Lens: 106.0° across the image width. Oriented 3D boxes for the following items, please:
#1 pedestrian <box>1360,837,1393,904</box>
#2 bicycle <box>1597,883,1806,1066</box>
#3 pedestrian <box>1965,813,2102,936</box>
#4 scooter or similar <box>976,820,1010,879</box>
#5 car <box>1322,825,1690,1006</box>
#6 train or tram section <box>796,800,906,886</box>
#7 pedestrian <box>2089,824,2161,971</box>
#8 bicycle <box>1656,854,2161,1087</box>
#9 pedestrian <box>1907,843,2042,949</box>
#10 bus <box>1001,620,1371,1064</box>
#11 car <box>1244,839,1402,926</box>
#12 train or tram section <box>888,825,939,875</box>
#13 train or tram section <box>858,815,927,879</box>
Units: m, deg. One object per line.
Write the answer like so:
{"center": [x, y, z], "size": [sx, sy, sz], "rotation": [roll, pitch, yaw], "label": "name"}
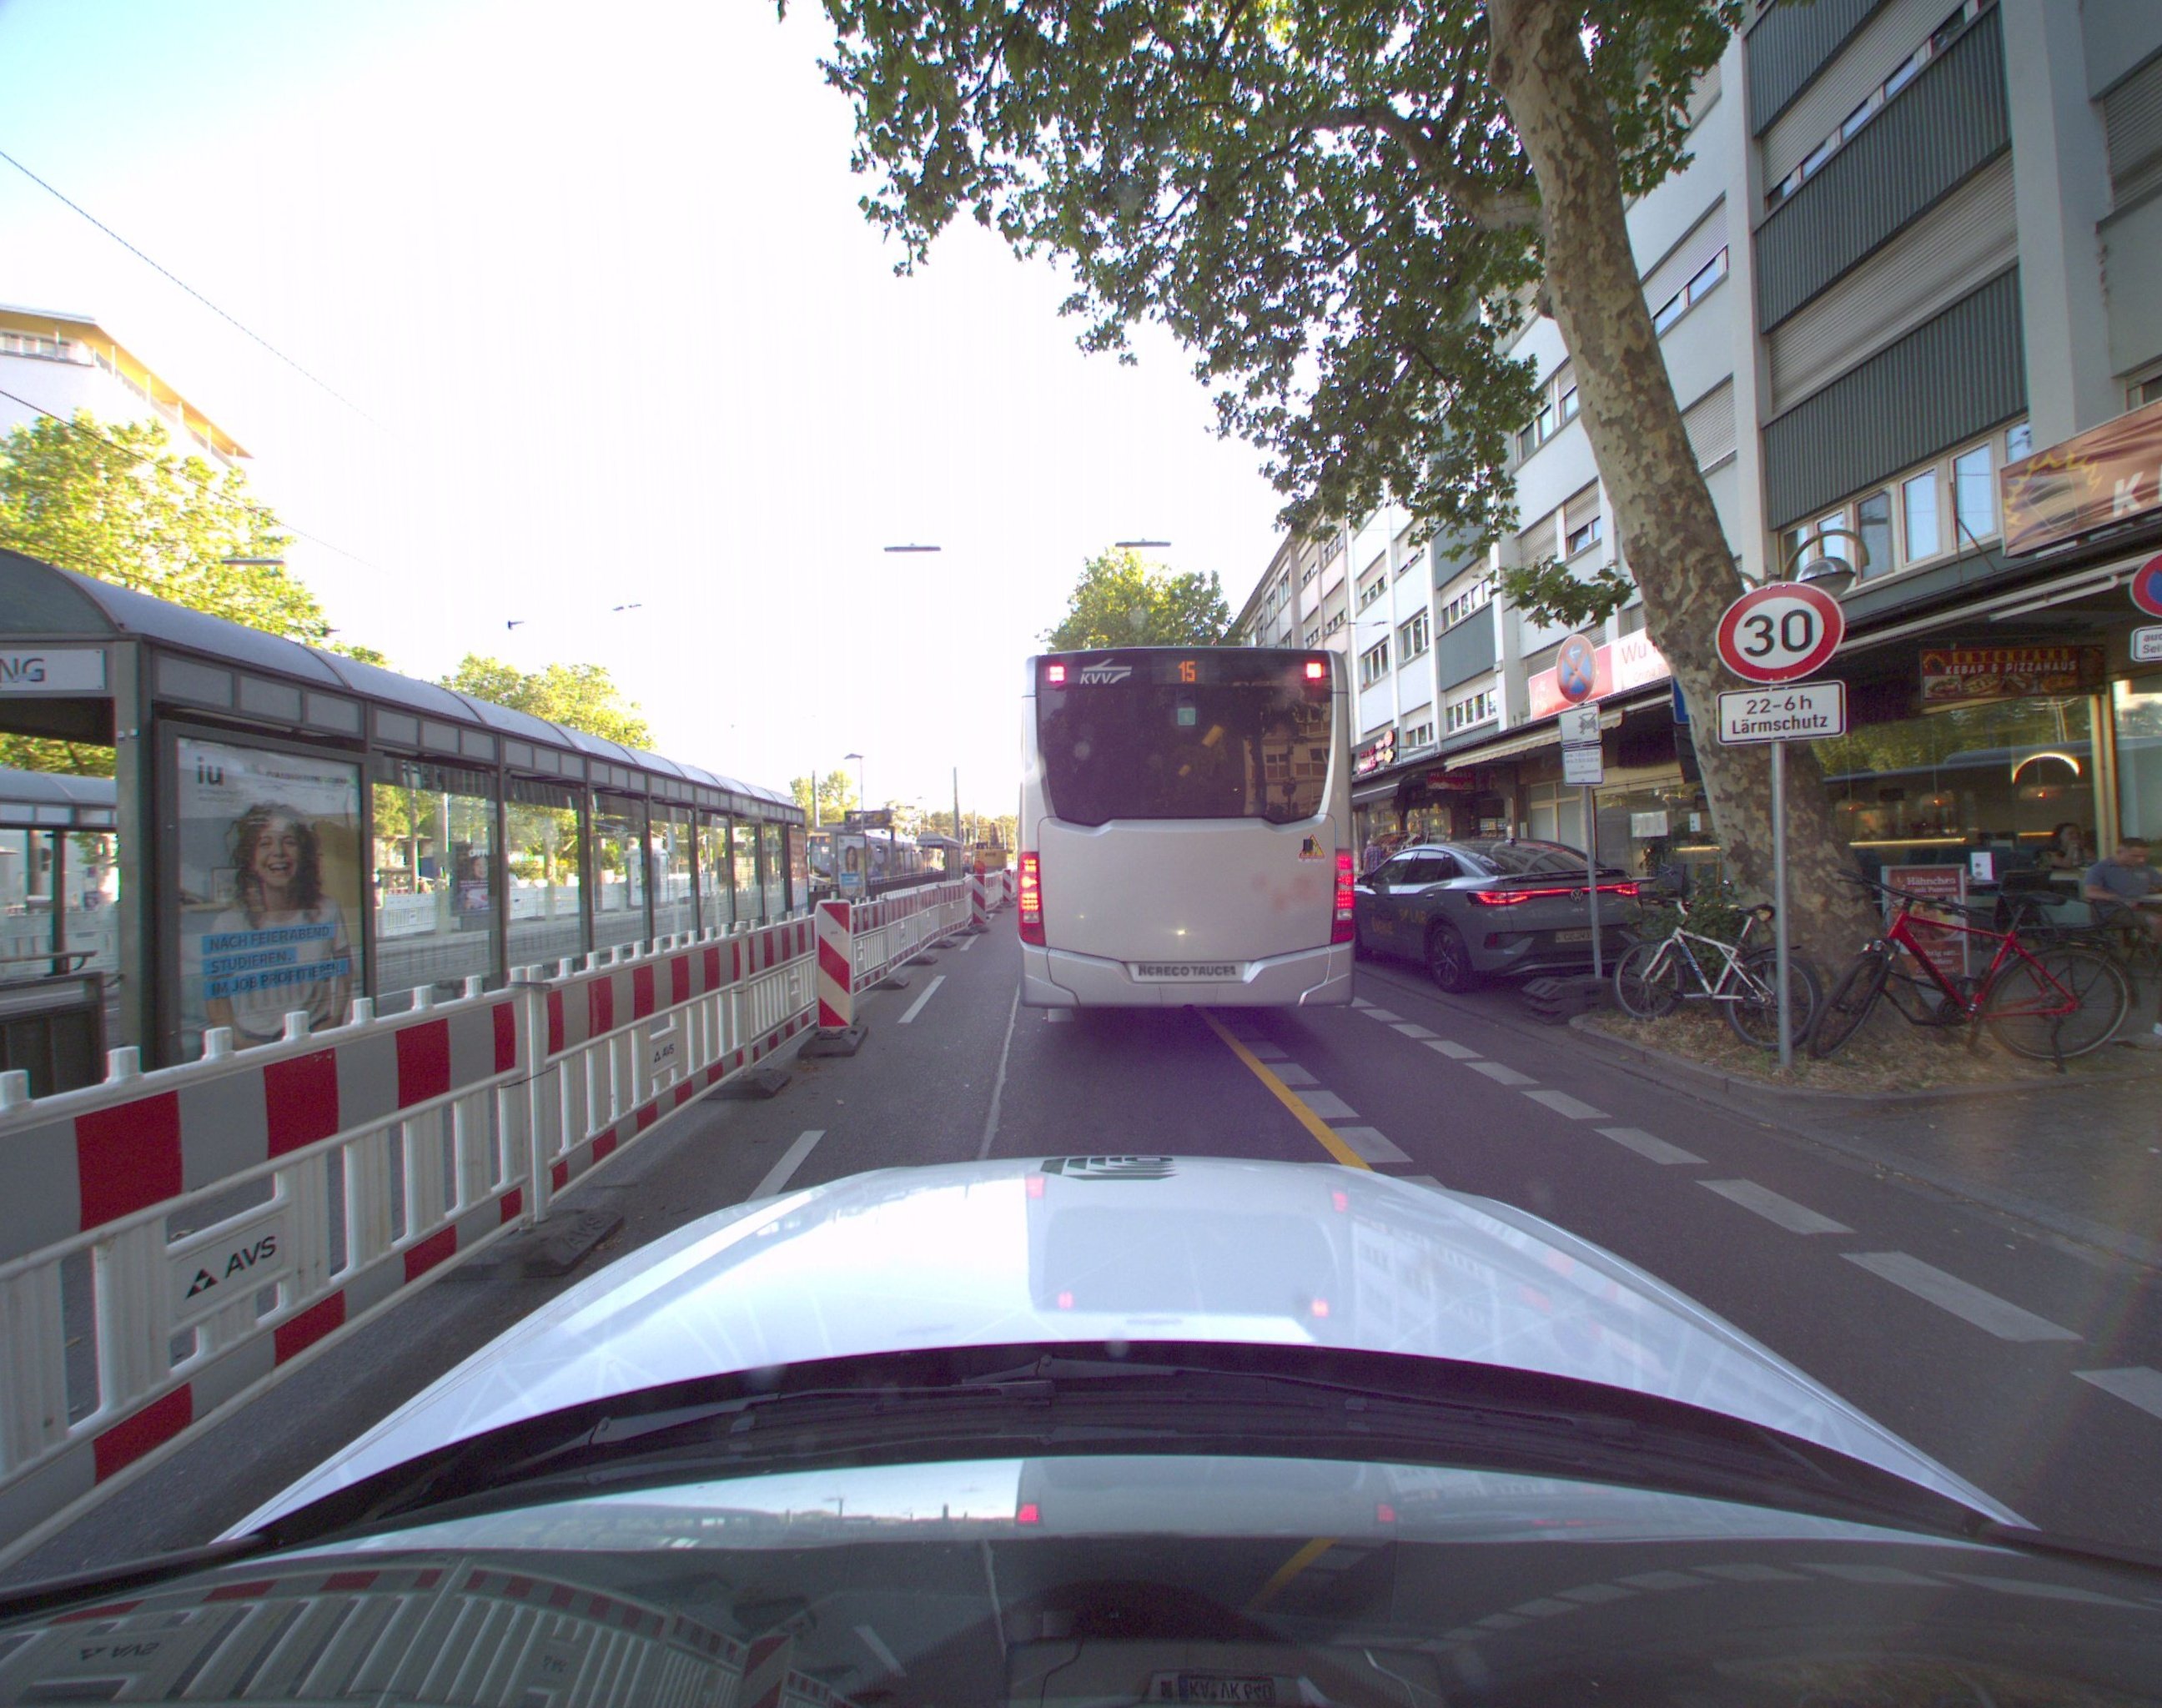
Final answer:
{"center": [7.564, 0.418, 20.849], "size": [0.658, 1.666, 0.603], "rotation": [-4, -1, 18], "label": "pedestrian"}
{"center": [4.574, 0.830, 6.130], "size": [0.550, 1.155, 1.446], "rotation": [-2, -1, 6], "label": "bicycle"}
{"center": [11.053, 0.221, 9.468], "size": [0.836, 1.333, 0.963], "rotation": [-2, -1, -39], "label": "pedestrian"}
{"center": [-6.977, -0.325, 64.914], "size": [2.465, 4.471, 5.961], "rotation": [-2, -1, -5], "label": "scooter or similar"}
{"center": [4.722, 0.581, 9.958], "size": [1.989, 1.582, 4.364], "rotation": [-4, 0, -3], "label": "car"}
{"center": [-10.826, -0.414, 39.762], "size": [2.681, 3.534, 11.756], "rotation": [0, -1, -3], "label": "train or tram section"}
{"center": [9.556, 0.366, 7.129], "size": [0.555, 1.245, 0.692], "rotation": [-4, 0, 8], "label": "pedestrian"}
{"center": [5.058, 0.716, 4.988], "size": [2.370, 1.155, 0.557], "rotation": [-7, -2, 14], "label": "bicycle"}
{"center": [9.859, 0.446, 8.999], "size": [0.643, 1.081, 0.945], "rotation": [-2, -1, -39], "label": "pedestrian"}
{"center": [0.866, -0.060, 9.746], "size": [2.601, 3.126, 7.996], "rotation": [0, 0, 2], "label": "bus"}
{"center": [5.227, 0.566, 18.300], "size": [1.989, 1.582, 4.364], "rotation": [-4, 0, -3], "label": "car"}
{"center": [-12.735, -0.228, 62.838], "size": [2.683, 3.533, 11.558], "rotation": [0, -1, -6], "label": "train or tram section"}
{"center": [-11.663, -0.358, 51.396], "size": [2.682, 3.558, 11.559], "rotation": [0, -1, -5], "label": "train or tram section"}
